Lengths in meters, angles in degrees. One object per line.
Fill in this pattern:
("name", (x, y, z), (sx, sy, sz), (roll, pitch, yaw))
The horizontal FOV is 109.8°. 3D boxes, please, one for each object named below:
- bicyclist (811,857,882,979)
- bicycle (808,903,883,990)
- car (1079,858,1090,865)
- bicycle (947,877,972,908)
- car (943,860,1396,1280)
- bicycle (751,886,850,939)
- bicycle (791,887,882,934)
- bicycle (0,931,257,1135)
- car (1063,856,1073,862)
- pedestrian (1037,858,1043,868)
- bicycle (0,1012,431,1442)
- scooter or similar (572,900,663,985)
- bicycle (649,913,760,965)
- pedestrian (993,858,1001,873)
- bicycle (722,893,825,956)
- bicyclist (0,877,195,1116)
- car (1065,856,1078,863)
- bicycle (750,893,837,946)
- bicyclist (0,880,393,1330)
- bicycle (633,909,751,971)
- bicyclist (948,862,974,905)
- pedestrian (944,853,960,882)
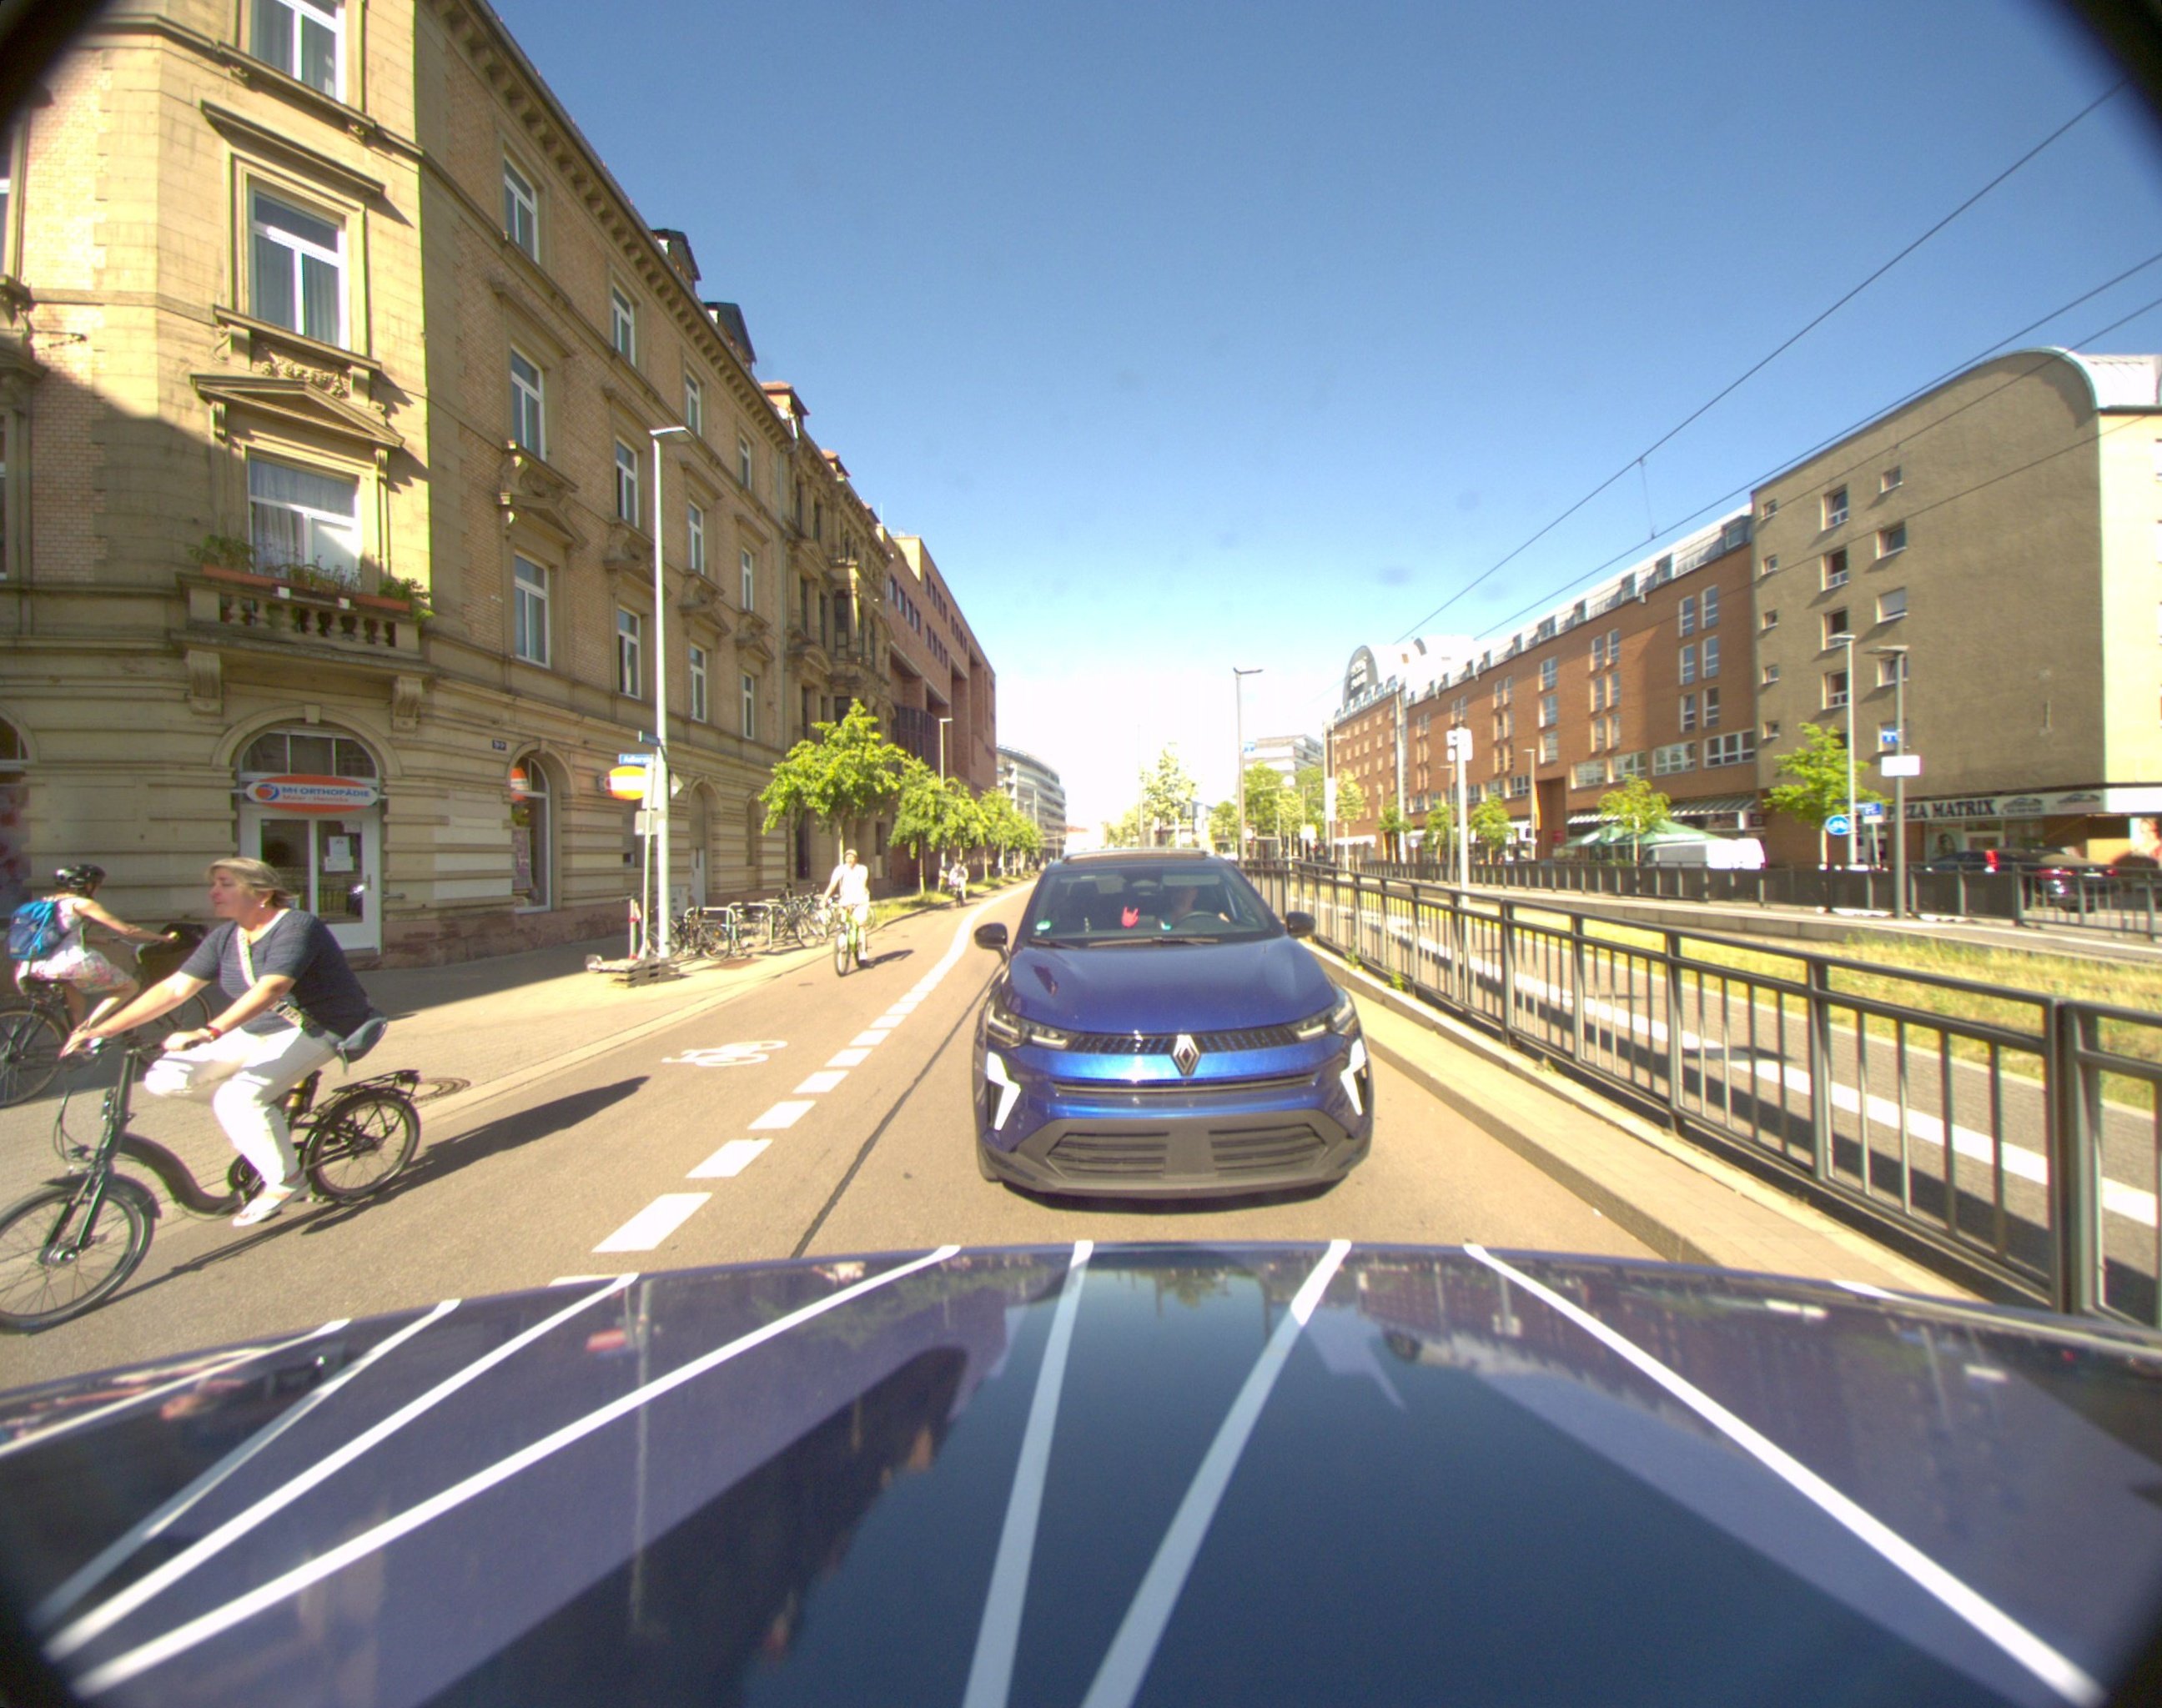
("bicyclist", (-3.504, 0.926, 11.429), (0.684, 1.718, 0.909), (-3, 0, 0))
("bicycle", (-3.470, 1.335, 11.315), (0.578, 1.090, 1.507), (-3, 0, 0))
("car", (0.866, 1.654, 172.471), (1.882, 1.455, 4.002), (-2, 1, 8))
("bicycle", (-4.636, 1.460, 28.999), (0.578, 1.090, 1.507), (-3, 0, 3))
("car", (0.396, 0.913, 5.135), (1.802, 1.596, 3.999), (-2, 1, 1))
("bicycle", (-6.441, 1.344, 17.518), (1.999, 1.121, 0.710), (1, 0, 2))
("bicycle", (-6.014, 1.386, 18.814), (2.001, 1.086, 0.846), (1, 0, -9))
("bicycle", (-7.616, 1.299, 5.781), (0.585, 1.215, 1.900), (-1, 0, 0))
("car", (-3.188, 1.255, 189.664), (1.882, 1.455, 4.001), (-2, 1, 7))
("pedestrian", (-5.785, 1.273, 107.136), (0.774, 1.478, 0.686), (-1, 0, 1))
("bicycle", (-3.611, 1.323, 3.100), (0.558, 1.021, 1.507), (-3, 0, 0))
("scooter or similar", (-6.759, 1.275, 11.101), (1.113, 1.183, 0.419), (0, 0, 8))
("bicycle", (-6.516, 1.458, 13.175), (1.673, 0.816, 0.607), (0, 0, 7))
("pedestrian", (-8.106, 1.102, 73.449), (0.633, 1.478, 0.736), (-1, 1, 0))
("bicycle", (-5.918, 1.347, 14.644), (1.727, 1.094, 0.607), (1, 0, 4))
("bicyclist", (-7.630, 1.010, 5.755), (0.668, 1.629, 0.960), (-1, 0, 0))
("car", (-2.144, 1.210, 173.905), (2.120, 1.547, 4.003), (-1, 0, 9))
("bicycle", (-6.121, 1.391, 16.203), (1.603, 1.039, 0.607), (1, 0, 4))
("bicyclist", (-3.615, 0.901, 3.121), (0.659, 1.528, 0.909), (-3, 0, 0))
("bicycle", (-6.388, 1.394, 12.507), (1.673, 0.938, 0.607), (0, 0, 8))
("bicyclist", (-4.595, 1.127, 29.124), (0.755, 1.607, 0.762), (-3, 0, 4))
("pedestrian", (-8.567, 0.881, 50.493), (0.790, 1.872, 1.106), (-1, 1, 0))
